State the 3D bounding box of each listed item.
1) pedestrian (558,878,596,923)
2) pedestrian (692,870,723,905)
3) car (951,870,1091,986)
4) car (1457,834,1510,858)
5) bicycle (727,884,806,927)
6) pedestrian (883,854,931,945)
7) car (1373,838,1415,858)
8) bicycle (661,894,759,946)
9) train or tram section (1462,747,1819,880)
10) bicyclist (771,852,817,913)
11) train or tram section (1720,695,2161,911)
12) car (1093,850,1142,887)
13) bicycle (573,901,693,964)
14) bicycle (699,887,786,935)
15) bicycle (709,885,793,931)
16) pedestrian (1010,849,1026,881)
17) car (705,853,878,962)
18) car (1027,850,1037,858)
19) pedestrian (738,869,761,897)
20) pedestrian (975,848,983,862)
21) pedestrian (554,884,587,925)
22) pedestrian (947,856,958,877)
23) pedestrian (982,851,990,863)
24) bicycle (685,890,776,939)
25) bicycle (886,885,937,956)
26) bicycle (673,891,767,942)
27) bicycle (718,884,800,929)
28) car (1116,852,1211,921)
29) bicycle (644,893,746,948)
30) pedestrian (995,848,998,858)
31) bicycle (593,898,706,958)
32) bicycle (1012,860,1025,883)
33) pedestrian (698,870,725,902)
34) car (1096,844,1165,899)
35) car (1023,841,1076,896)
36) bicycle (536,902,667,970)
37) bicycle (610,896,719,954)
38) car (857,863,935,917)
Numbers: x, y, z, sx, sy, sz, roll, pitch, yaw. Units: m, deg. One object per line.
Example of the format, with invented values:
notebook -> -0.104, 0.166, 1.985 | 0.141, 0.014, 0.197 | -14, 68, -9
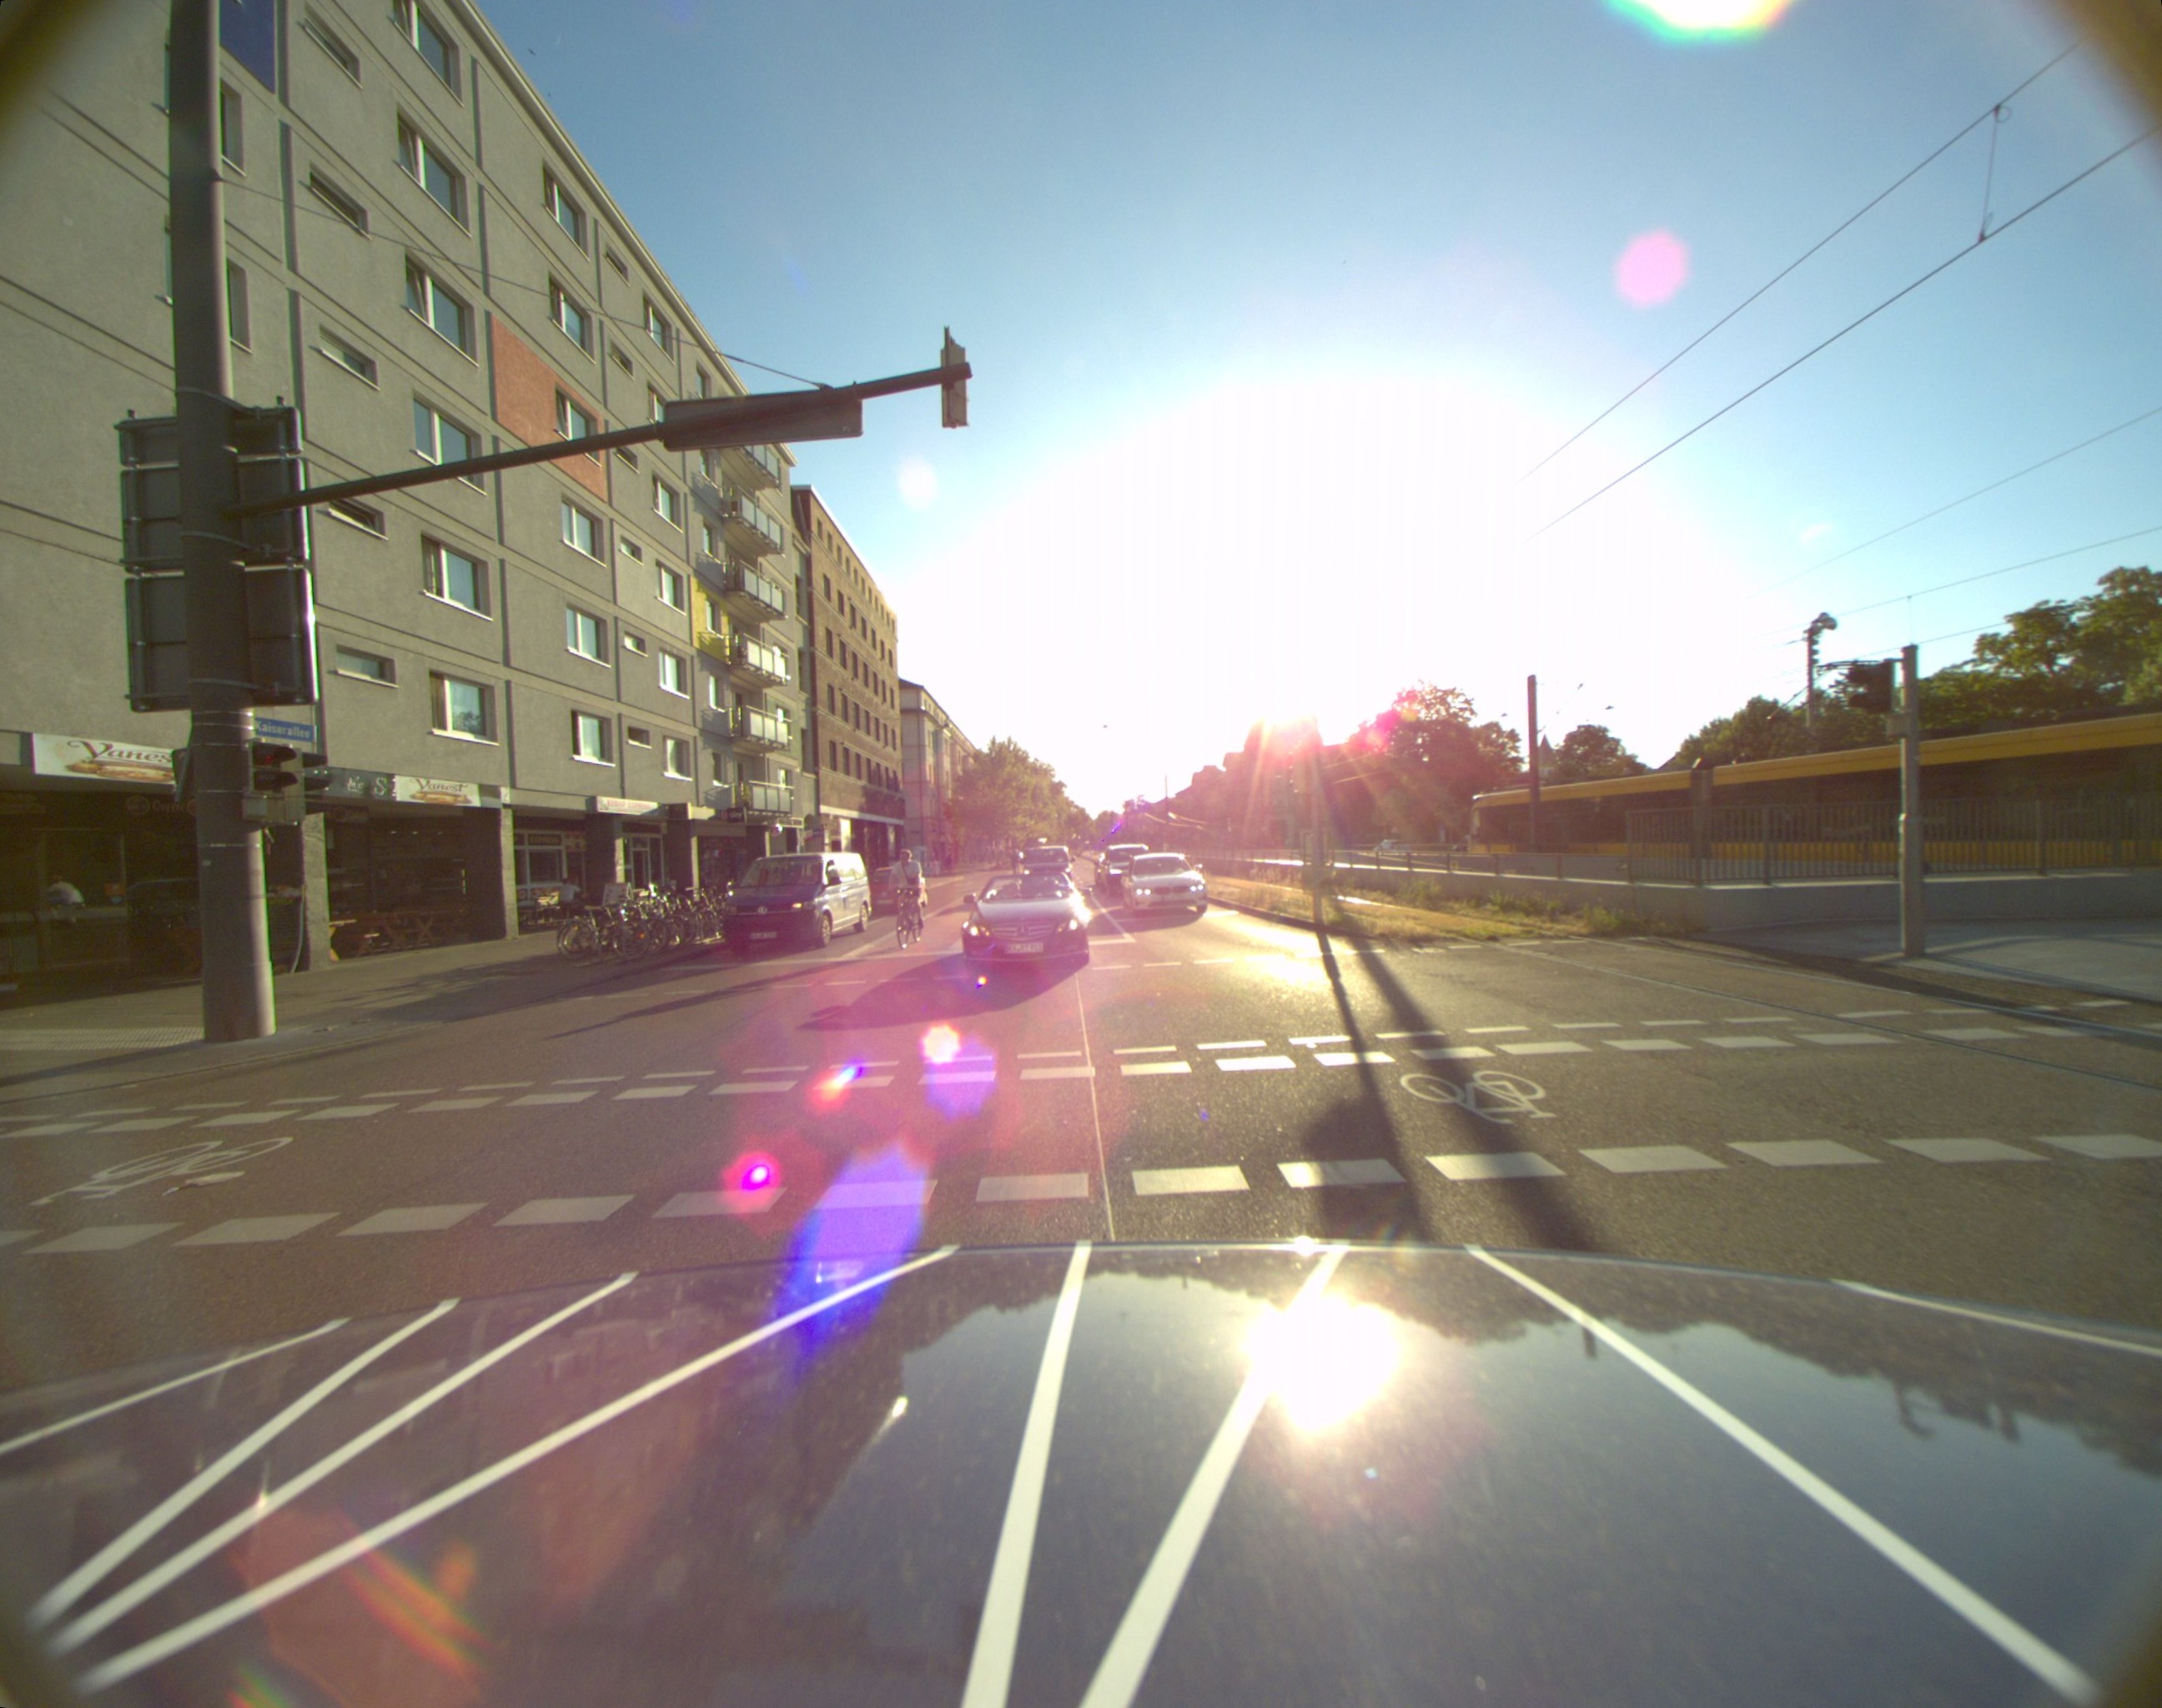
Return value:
pedestrian -> -15.034, 1.373, 22.672 | 0.858, 1.266, 0.648 | -1, 2, 37
pedestrian -> -14.616, 1.289, 29.755 | 0.646, 1.287, 0.954 | -2, 1, 1
car -> -0.853, 1.016, 12.103 | 1.776, 1.300, 4.239 | -2, 1, -2
car -> 29.986, -0.580, 56.713 | 1.715, 1.685, 4.089 | -2, 1, 0
bicycle -> -8.456, 1.377, 20.470 | 1.873, 1.119, 0.568 | 0, 1, -5
pedestrian -> -3.318, 0.848, 14.586 | 0.640, 1.639, 0.843 | -3, 1, -1
car -> 24.813, -0.480, 60.350 | 1.715, 1.531, 3.672 | -2, 1, 0
bicycle -> -8.288, 1.464, 17.027 | 1.873, 1.119, 0.568 | 0, 1, -5
train or tram section -> 18.637, -1.193, 27.399 | 2.780, 3.516, 13.247 | -2, 1, -2
bicyclist -> -8.827, 0.855, 23.426 | 0.743, 1.797, 1.386 | -2, 1, 2
train or tram section -> 18.996, -0.903, 14.110 | 2.780, 3.516, 13.247 | -2, 1, -2
car -> 1.554, 0.609, 34.010 | 1.815, 1.393, 3.918 | -5, 1, -1
bicycle -> -8.449, 1.480, 14.388 | 1.873, 1.119, 0.607 | 0, 1, -5
bicycle -> -8.321, 1.398, 18.750 | 1.873, 1.119, 0.568 | 0, 1, -5
bicycle -> -8.366, 1.372, 19.322 | 1.873, 1.119, 0.568 | 0, 1, -5
pedestrian -> -3.442, 0.587, 41.409 | 0.679, 1.639, 0.901 | -3, 1, 1
car -> -6.053, 1.006, 16.641 | 1.942, 1.922, 4.831 | -2, 1, -1
car -> -9.746, 0.010, 152.348 | 1.775, 1.474, 4.308 | -2, 1, -1
pedestrian -> -13.875, 1.204, 31.835 | 0.606, 1.145, 0.727 | -2, 1, -2
pedestrian -> -11.975, 0.100, 88.944 | 0.728, 1.666, 0.924 | -3, 1, -2
pedestrian -> -14.705, 1.448, 21.904 | 0.647, 1.093, 0.544 | -3, 1, -23
pedestrian -> -9.958, 0.961, 58.876 | 0.603, 1.587, 0.884 | -2, 1, -1
pedestrian -> -11.103, 0.343, 88.576 | 0.728, 1.431, 0.924 | -3, 1, -2
bicycle -> -8.363, 1.429, 18.173 | 1.873, 1.119, 0.568 | 0, 1, -5
bicycle -> -3.245, 1.248, 14.671 | 0.530, 1.152, 1.848 | -3, 1, -1
bicycle -> -8.343, 1.440, 17.601 | 1.873, 1.119, 0.568 | 0, 1, -5
bicycle -> -8.416, 1.363, 19.894 | 1.873, 1.119, 0.568 | 0, 1, -5
car -> 2.018, 0.753, 19.827 | 1.842, 1.393, 4.583 | -5, 1, 0
bicycle -> -8.289, 1.425, 16.351 | 1.873, 1.119, 0.568 | 0, 1, -5
pedestrian -> -12.985, -0.156, 116.885 | 0.310, 1.431, 0.357 | -2, 1, 6
bicycle -> -8.481, 1.452, 14.982 | 1.873, 1.119, 0.568 | 0, 1, -5
bicycle -> -3.402, 0.918, 41.455 | 0.530, 1.152, 1.849 | -3, 1, 0
pedestrian -> -15.144, 1.304, 31.181 | 0.727, 1.224, 0.647 | -2, 1, 0
car -> 1.717, 0.547, 27.796 | 1.956, 1.702, 4.849 | -5, 1, -2
car -> -1.267, 0.511, 30.904 | 1.920, 1.978, 4.945 | -2, 1, -2
bicycle -> -8.576, 1.456, 13.641 | 1.873, 1.055, 0.607 | -2, 1, -3
bicycle -> -8.507, 1.447, 15.566 | 1.873, 1.119, 0.568 | 0, 1, -5
car -> -6.075, 1.149, 25.314 | 1.687, 1.472, 3.538 | -4, 1, -1
